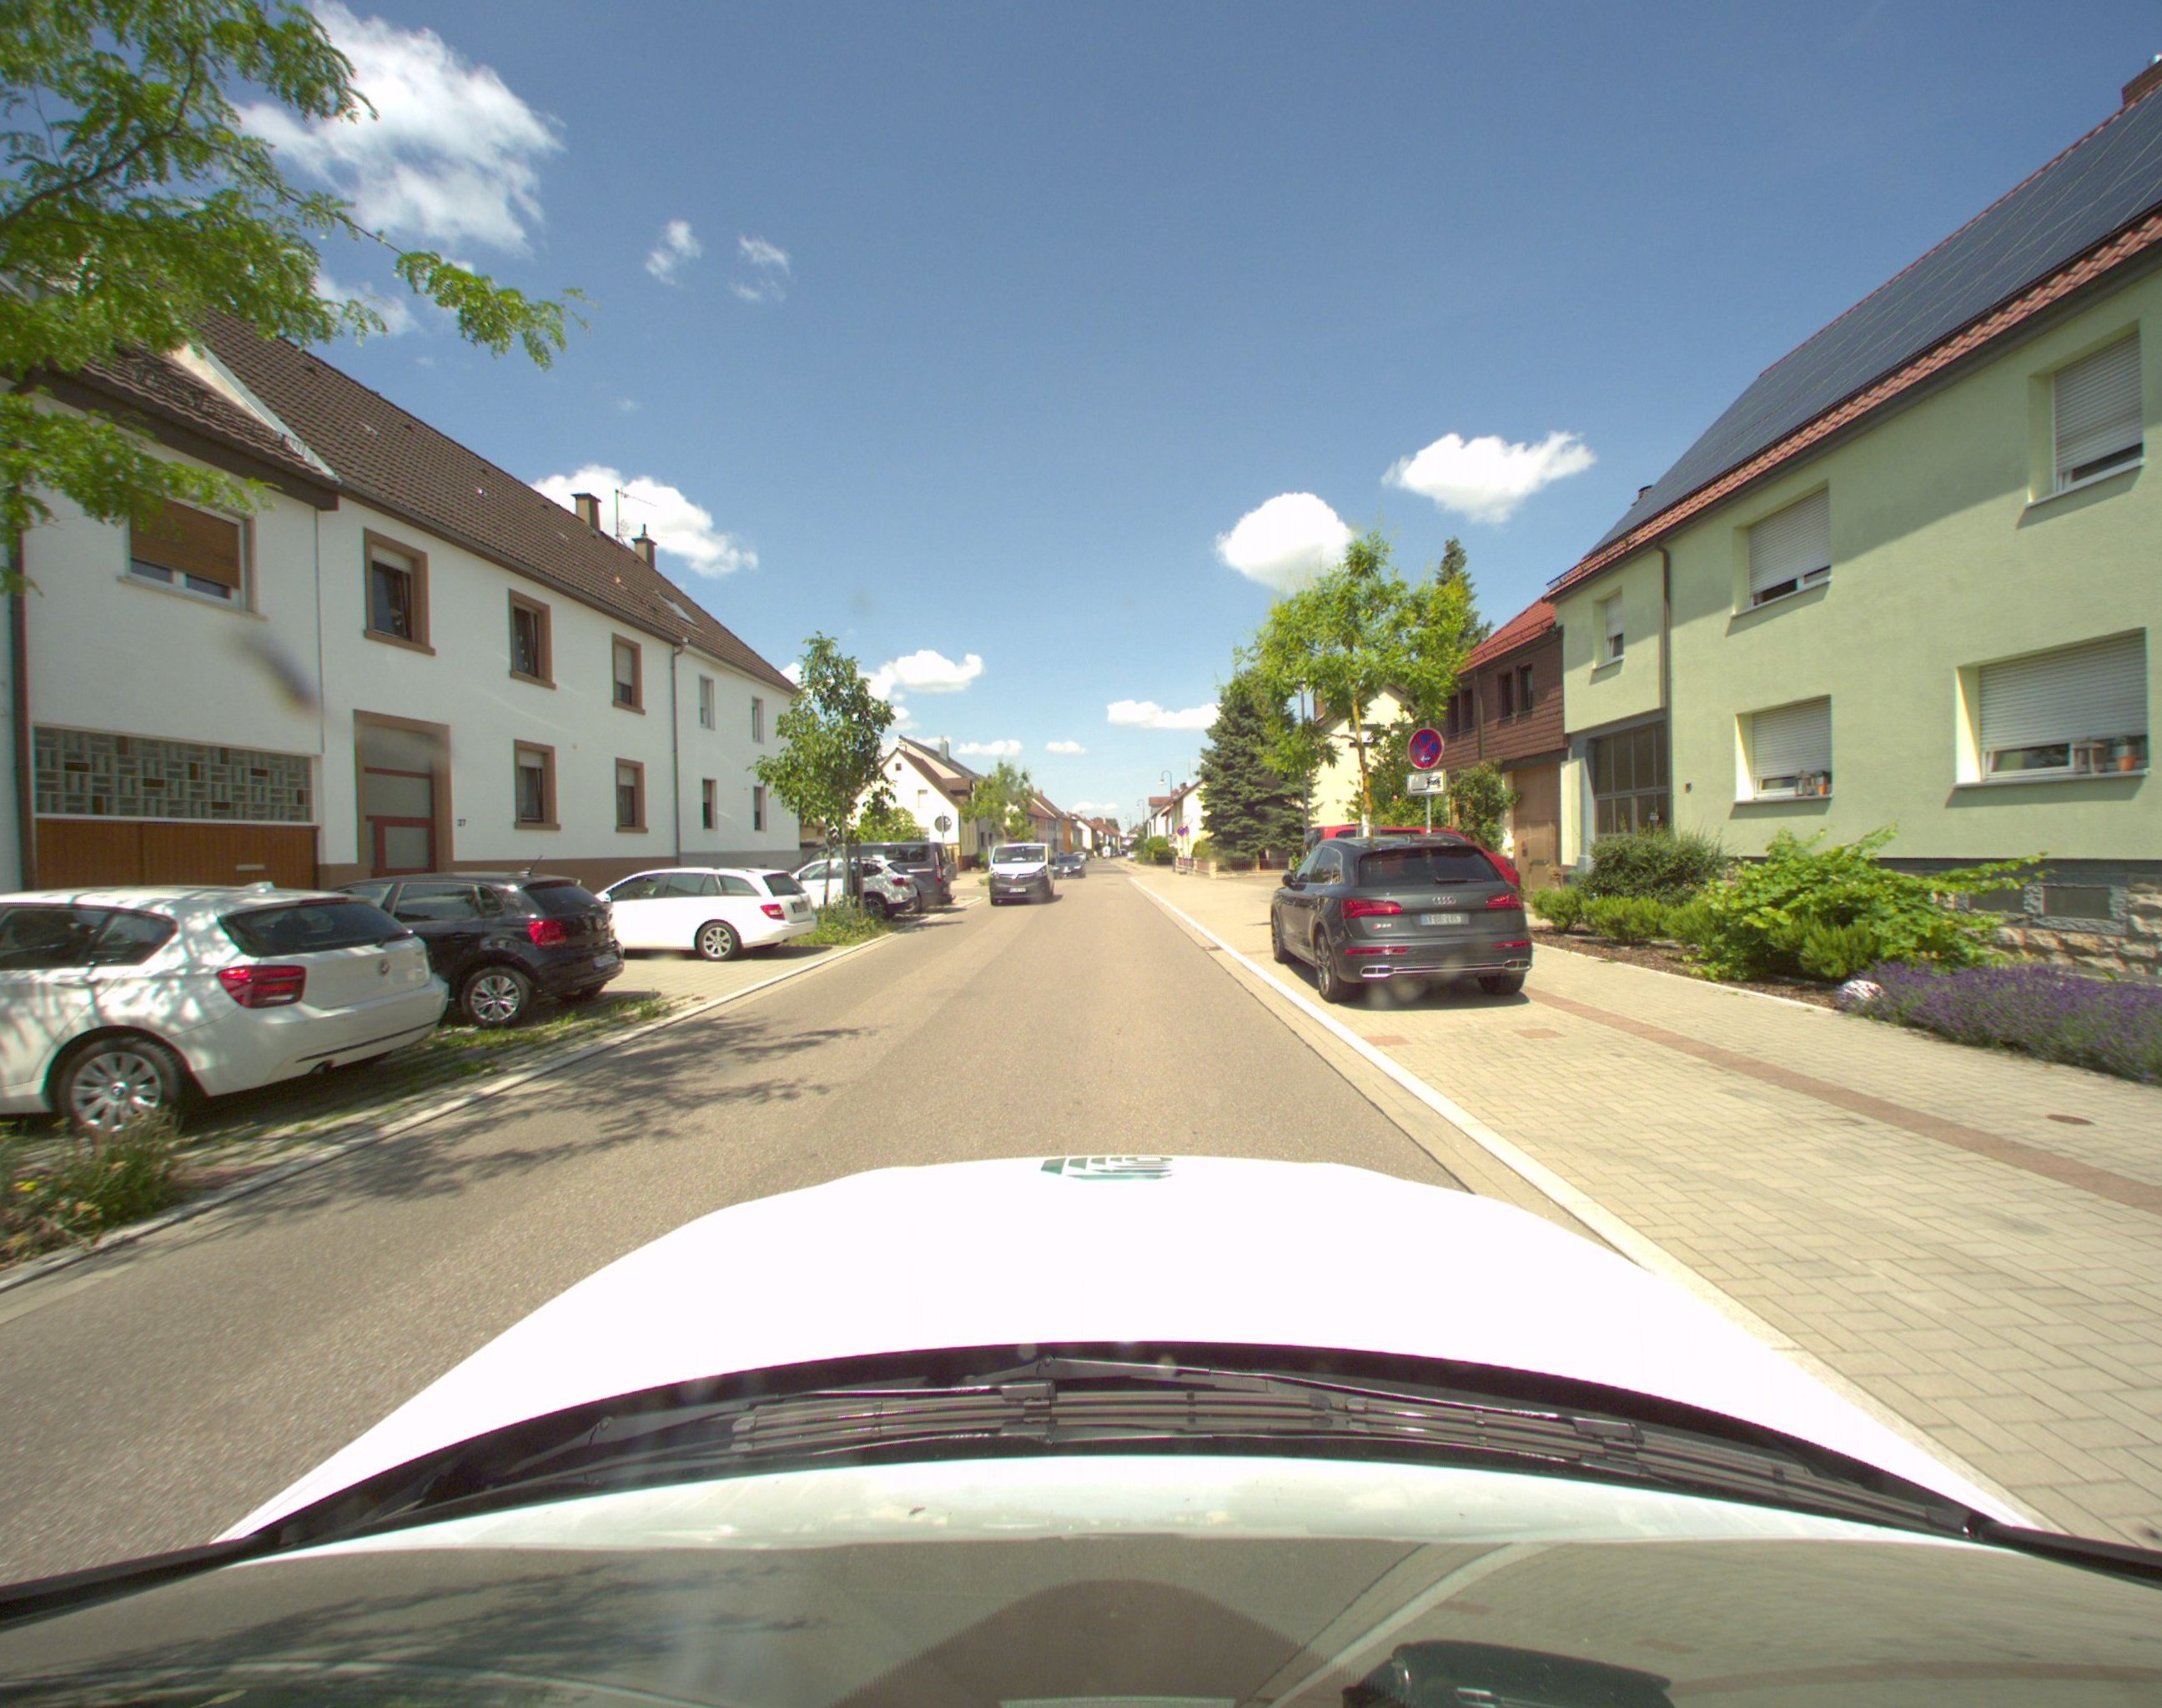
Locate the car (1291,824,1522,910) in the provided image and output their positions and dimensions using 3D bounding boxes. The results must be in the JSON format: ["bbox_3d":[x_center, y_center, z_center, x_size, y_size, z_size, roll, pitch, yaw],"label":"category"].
[{"bbox_3d":[7.443,0.302,19.005,4.604,1.893,2.020,0,-1,0],"label":"car"}]

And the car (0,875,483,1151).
[{"bbox_3d":[-6.639,0.908,5.292,4.068,1.468,1.749,0,0,-8],"label":"car"}]

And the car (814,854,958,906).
[{"bbox_3d":[-6.184,0.818,26.160,4.160,1.619,1.772,0,-1,1],"label":"car"}]

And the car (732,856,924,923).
[{"bbox_3d":[-6.142,0.849,20.158,4.173,1.569,1.772,0,-1,-3],"label":"car"}]

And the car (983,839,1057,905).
[{"bbox_3d":[-1.911,0.566,27.134,2.016,1.950,4.898,-2,-1,0],"label":"car"}]

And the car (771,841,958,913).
[{"bbox_3d":[-5.988,0.625,22.941,4.683,1.923,1.938,0,-1,1],"label":"car"}]

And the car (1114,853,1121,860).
[{"bbox_3d":[9.609,0.617,216.140,1.683,1.660,3.776,0,-1,5],"label":"car"}]

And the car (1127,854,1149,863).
[{"bbox_3d":[9.197,0.740,132.571,3.510,1.464,1.629,0,-1,1],"label":"car"}]

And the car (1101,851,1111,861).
[{"bbox_3d":[5.825,0.389,186.887,2.035,2.312,3.776,0,-1,5],"label":"car"}]

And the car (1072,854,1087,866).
[{"bbox_3d":[-0.189,0.842,116.869,1.841,1.659,4.004,1,0,4],"label":"car"}]

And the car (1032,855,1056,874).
[{"bbox_3d":[-3.040,0.851,67.976,1.811,1.433,4.138,2,1,-1],"label":"car"}]

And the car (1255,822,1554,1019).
[{"bbox_3d":[3.332,0.569,9.426,1.856,1.635,4.451,-3,0,4],"label":"car"}]

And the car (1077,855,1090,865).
[{"bbox_3d":[0.406,0.957,137.884,1.841,1.659,4.004,1,0,4],"label":"car"}]

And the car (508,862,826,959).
[{"bbox_3d":[-6.606,0.882,13.309,4.277,1.468,1.775,0,-1,2],"label":"car"}]

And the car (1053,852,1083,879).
[{"bbox_3d":[-0.776,0.701,50.876,1.757,1.523,4.049,-3,0,0],"label":"car"}]

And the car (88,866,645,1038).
[{"bbox_3d":[-6.769,0.862,8.143,3.876,1.468,1.655,0,-1,-8],"label":"car"}]
